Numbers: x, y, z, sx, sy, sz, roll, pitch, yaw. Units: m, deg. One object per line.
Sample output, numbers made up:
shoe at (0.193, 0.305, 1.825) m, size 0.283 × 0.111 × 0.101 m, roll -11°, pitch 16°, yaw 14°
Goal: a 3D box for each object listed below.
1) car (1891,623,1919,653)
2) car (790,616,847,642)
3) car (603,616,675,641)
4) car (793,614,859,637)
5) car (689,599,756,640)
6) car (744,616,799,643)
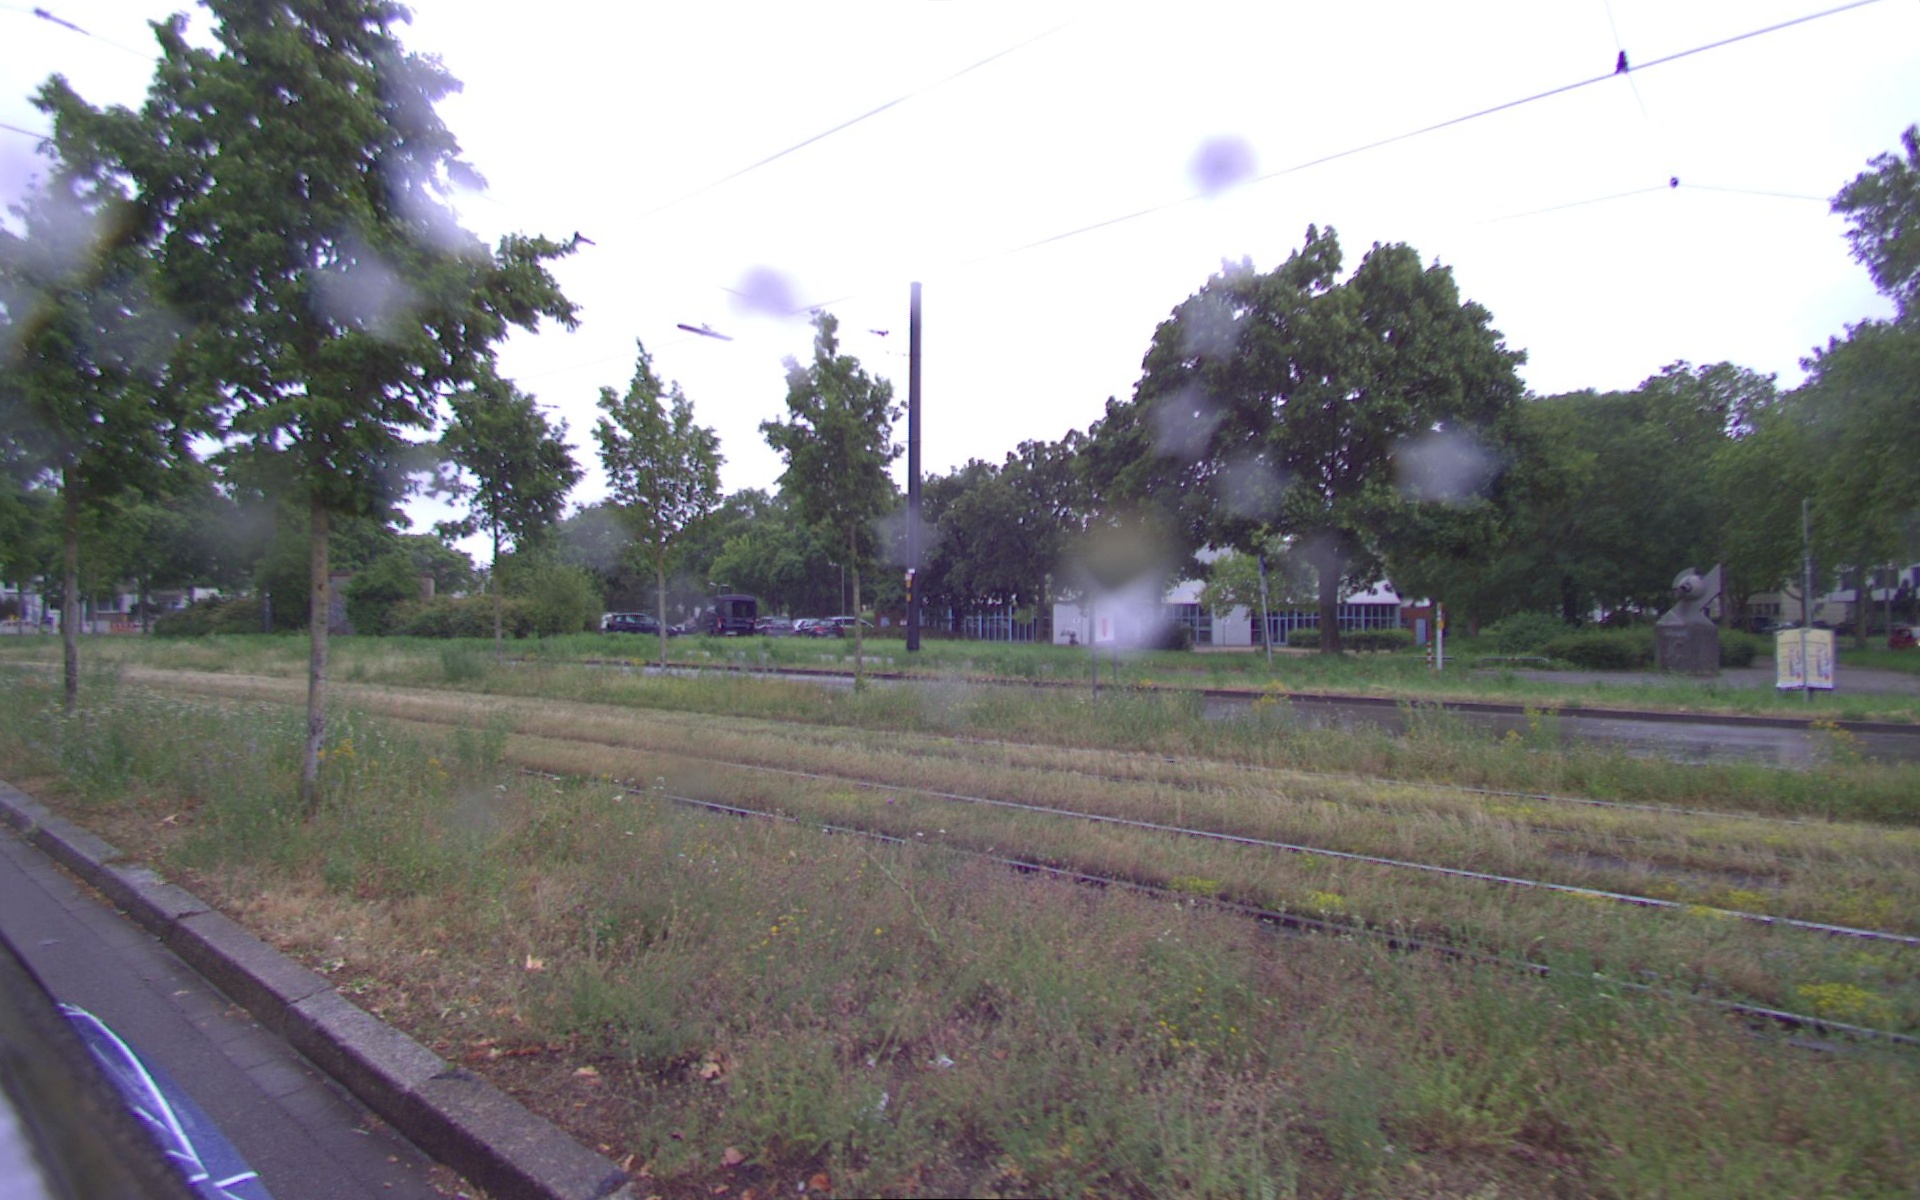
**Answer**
car at (46.140, 1.826, 48.256) m, size 1.644 × 1.406 × 3.792 m, roll 0°, pitch -2°, yaw 28°
car at (-7.520, 1.551, 53.597) m, size 1.805 × 1.349 × 4.111 m, roll 1°, pitch -2°, yaw -26°
car at (-19.466, 1.719, 61.363) m, size 3.991 × 1.445 × 1.696 m, roll 1°, pitch -1°, yaw -23°
car at (-8.766, 1.655, 66.203) m, size 3.991 × 1.445 × 1.696 m, roll 1°, pitch -1°, yaw -23°
car at (-12.053, 1.021, 51.154) m, size 2.002 × 1.962 × 4.729 m, roll 1°, pitch -2°, yaw -30°
car at (-9.867, 1.527, 52.760) m, size 1.805 × 1.349 × 4.111 m, roll 1°, pitch -2°, yaw -26°
